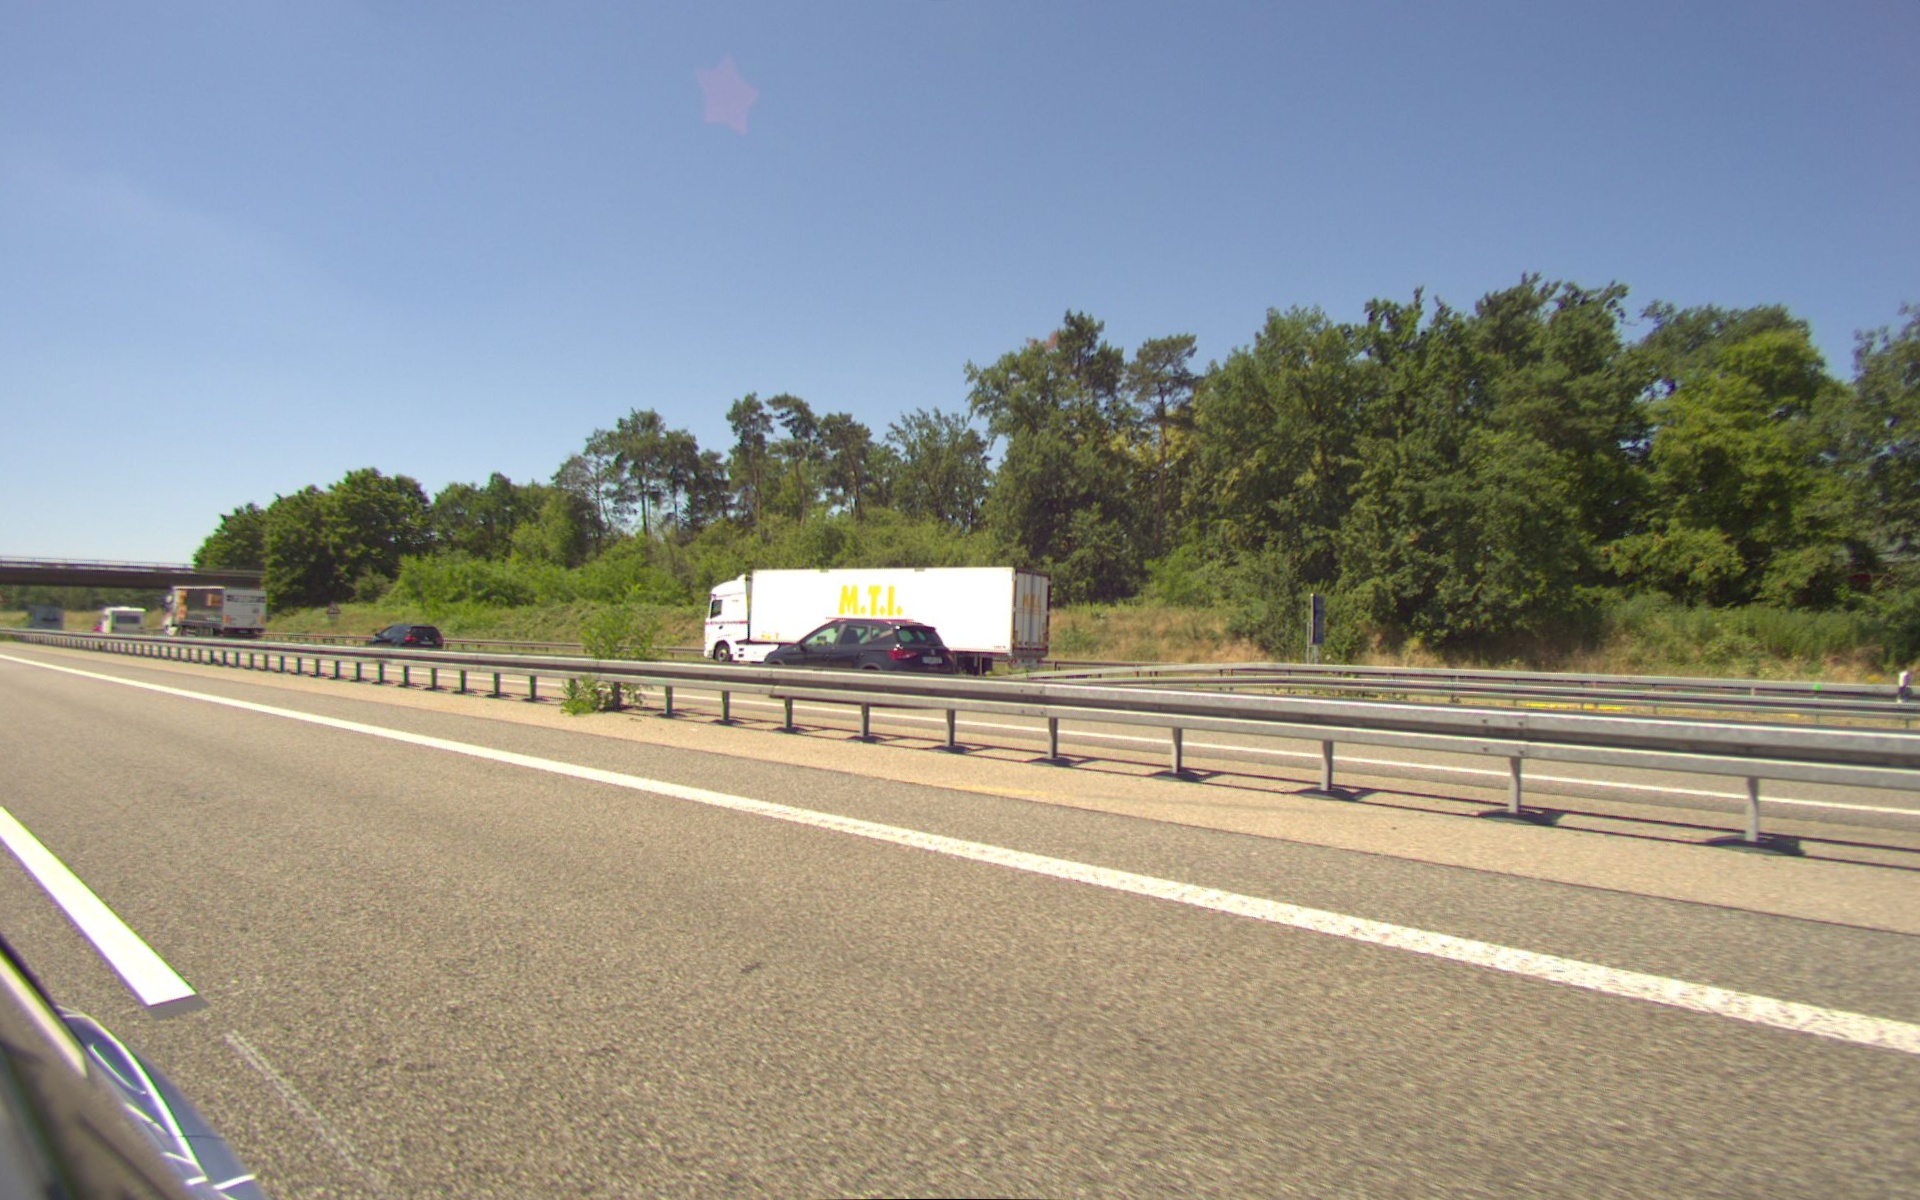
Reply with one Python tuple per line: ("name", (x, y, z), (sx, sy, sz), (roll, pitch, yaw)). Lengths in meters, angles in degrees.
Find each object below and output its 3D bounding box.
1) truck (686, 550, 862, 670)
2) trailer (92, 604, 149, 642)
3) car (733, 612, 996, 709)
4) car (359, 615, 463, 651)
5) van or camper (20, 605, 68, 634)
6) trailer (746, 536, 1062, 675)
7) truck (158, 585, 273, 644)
("truck", (-8.306, 0.537, 44.755), (7.698, 4.865, 3.044), (-1, -5, 35))
("trailer", (-65.433, 1.814, 78.827), (5.071, 2.769, 2.451), (-1, -4, 41))
("car", (-1.881, 1.083, 18.800), (4.887, 1.563, 2.031), (-1, -4, 41))
("car", (-23.207, 1.414, 42.727), (4.887, 1.390, 2.205), (-1, -4, 41))
("van or camper", (-94.643, 1.998, 104.505), (8.554, 2.832, 2.476), (-1, -2, 40))
("trailer", (-2.669, 0.411, 40.840), (13.734, 4.865, 3.044), (-1, -5, 35))
("truck", (-56.192, 1.162, 76.042), (16.858, 4.026, 3.291), (-1, -2, 41))
